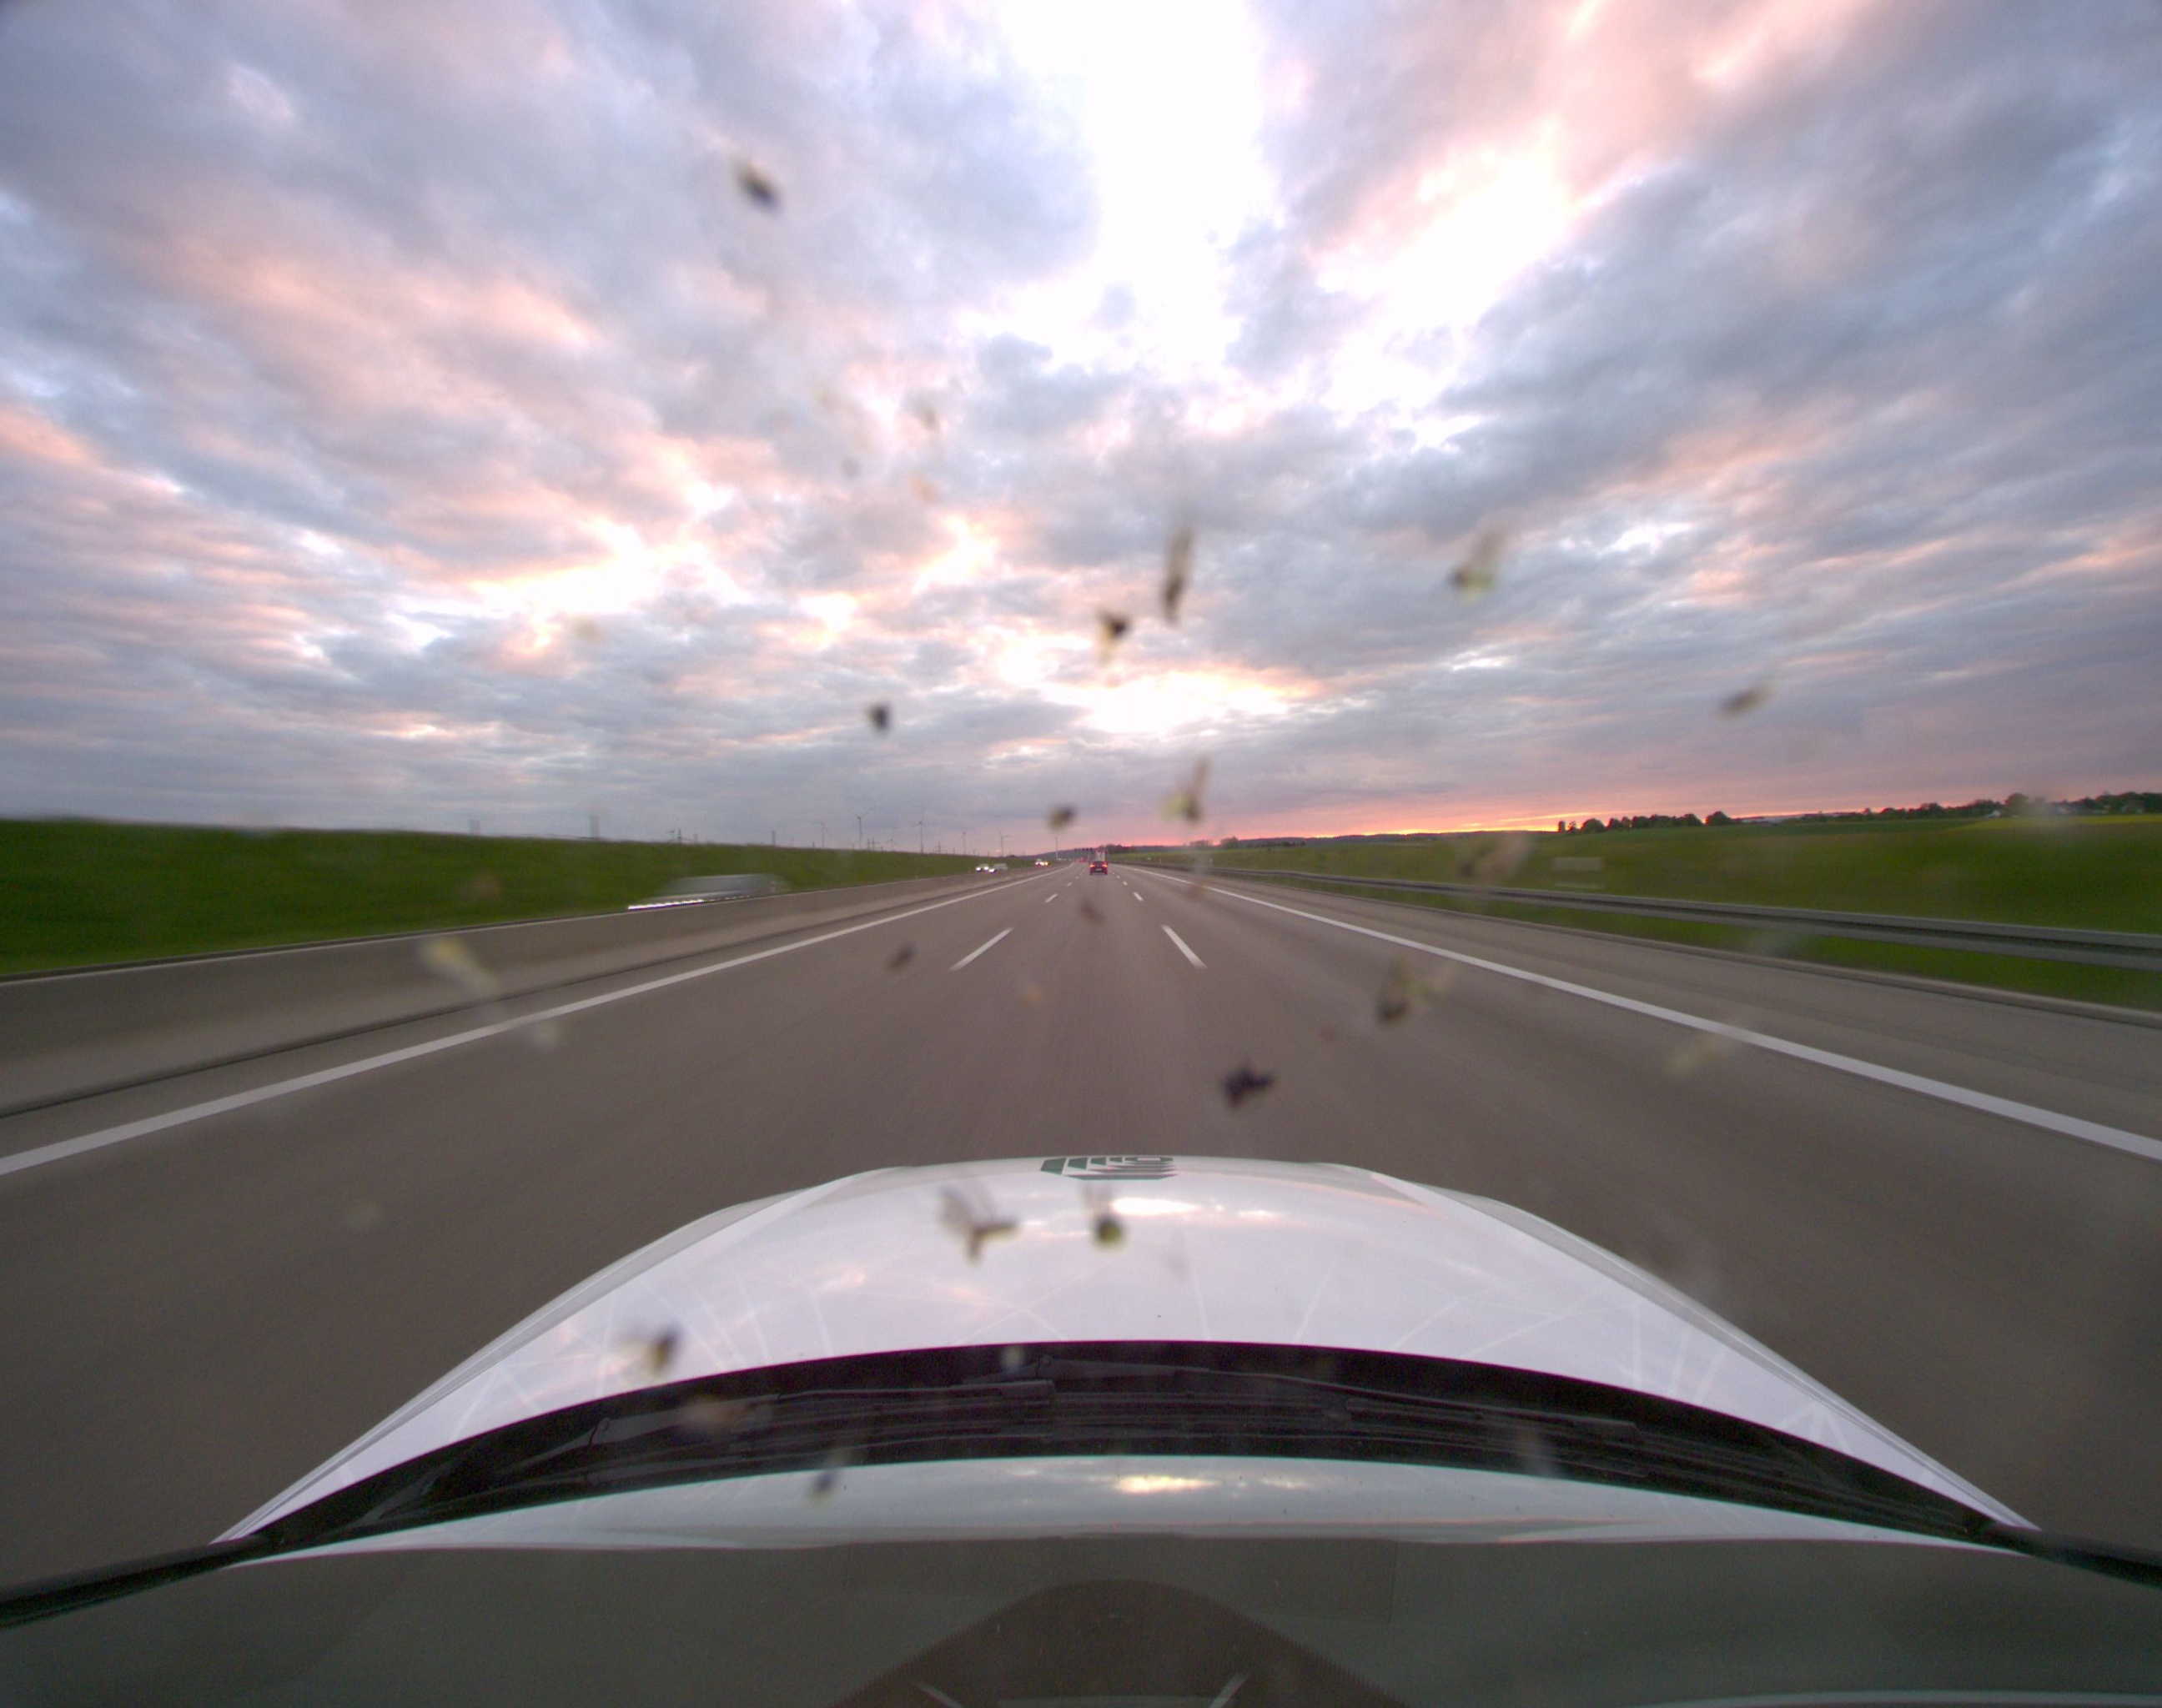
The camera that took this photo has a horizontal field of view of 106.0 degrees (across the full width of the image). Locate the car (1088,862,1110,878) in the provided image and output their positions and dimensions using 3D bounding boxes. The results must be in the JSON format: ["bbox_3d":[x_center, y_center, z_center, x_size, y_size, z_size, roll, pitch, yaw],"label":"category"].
[{"bbox_3d":[1.828,1.561,81.701,1.980,1.429,4.002,-3,0,2],"label":"car"}]

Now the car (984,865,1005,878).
[{"bbox_3d":[-9.911,1.976,93.482,1.740,1.385,4.495,-3,0,1],"label":"car"}]

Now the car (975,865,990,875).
[{"bbox_3d":[-16.504,2.652,136.263,1.856,1.553,4.581,-3,0,0],"label":"car"}]

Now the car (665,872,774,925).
[{"bbox_3d":[-11.166,1.341,25.450,1.572,1.385,3.774,-3,0,1],"label":"car"}]

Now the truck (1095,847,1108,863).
[{"bbox_3d":[6.308,0.329,255.208,3.663,4.565,10.979,-3,0,0],"label":"truck"}]
